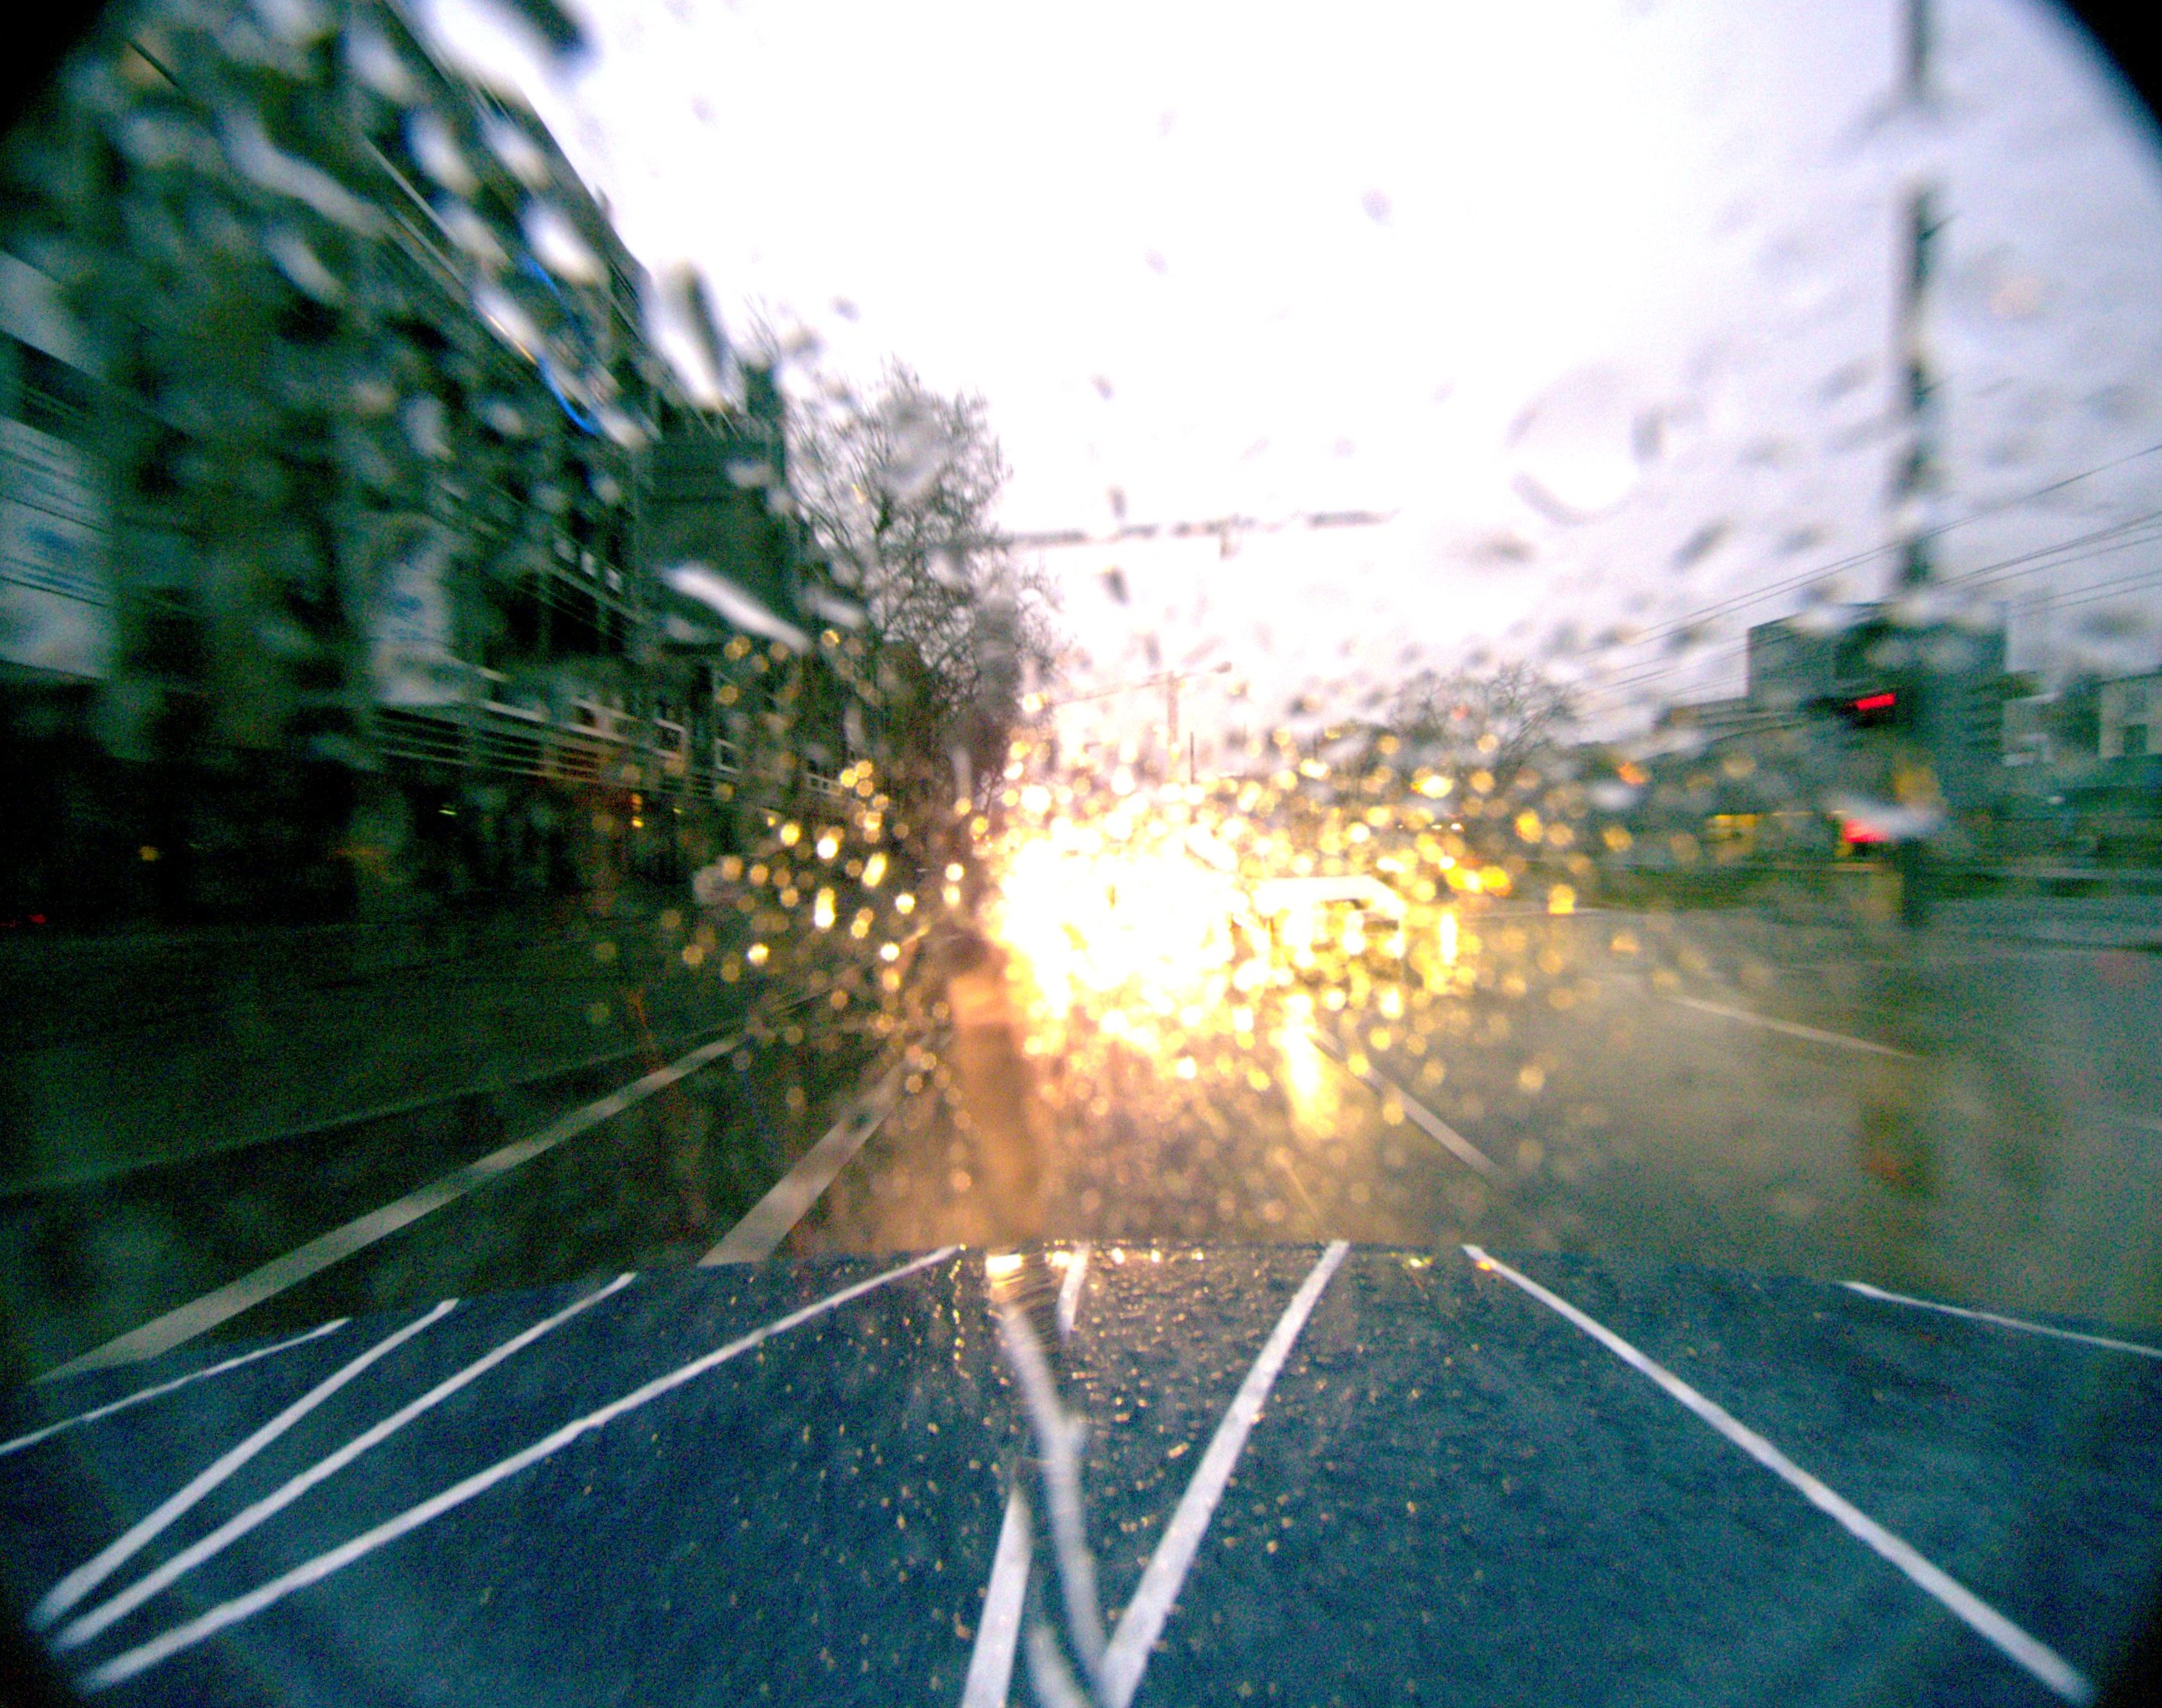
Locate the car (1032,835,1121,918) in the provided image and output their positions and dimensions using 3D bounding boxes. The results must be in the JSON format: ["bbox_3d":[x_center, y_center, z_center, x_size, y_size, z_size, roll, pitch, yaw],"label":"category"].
[{"bbox_3d":[-0.221,0.472,19.805,1.879,1.831,3.997,-3,2,-5],"label":"car"}]

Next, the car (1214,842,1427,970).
[{"bbox_3d":[3.434,0.629,11.896,1.949,1.478,4.504,-3,2,1],"label":"car"}]

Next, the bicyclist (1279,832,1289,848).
[{"bbox_3d":[21.715,-1.507,81.243,0.763,1.723,0.960,-3,4,-5],"label":"bicyclist"}]

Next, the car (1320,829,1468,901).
[{"bbox_3d":[7.840,0.182,19.523,1.972,1.575,4.287,-1,2,-1],"label":"car"}]

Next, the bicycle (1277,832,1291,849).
[{"bbox_3d":[21.721,-1.502,81.207,0.763,1.723,2.062,-3,3,-4],"label":"bicycle"}]

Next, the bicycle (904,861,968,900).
[{"bbox_3d":[-4.414,0.802,23.211,1.811,1.124,0.640,1,0,-2],"label":"bicycle"}]

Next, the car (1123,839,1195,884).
[{"bbox_3d":[2.836,0.215,28.712,1.999,1.478,4.503,-1,2,-4],"label":"car"}]

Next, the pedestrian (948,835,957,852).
[{"bbox_3d":[-13.107,-1.061,77.598,0.767,1.740,0.927,-1,2,-6],"label":"pedestrian"}]

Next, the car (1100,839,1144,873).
[{"bbox_3d":[2.098,0.069,40.164,1.907,1.565,3.998,-3,2,-2],"label":"car"}]

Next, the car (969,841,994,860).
[{"bbox_3d":[-8.434,-0.318,64.785,1.713,1.455,3.998,-2,2,-2],"label":"car"}]

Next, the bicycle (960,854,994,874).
[{"bbox_3d":[-5.388,0.534,39.427,1.704,0.987,0.879,1,2,-2],"label":"bicycle"}]

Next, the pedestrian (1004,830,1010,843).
[{"bbox_3d":[-10.551,-2.489,108.322,0.767,1.740,0.927,-1,2,-6],"label":"pedestrian"}]
